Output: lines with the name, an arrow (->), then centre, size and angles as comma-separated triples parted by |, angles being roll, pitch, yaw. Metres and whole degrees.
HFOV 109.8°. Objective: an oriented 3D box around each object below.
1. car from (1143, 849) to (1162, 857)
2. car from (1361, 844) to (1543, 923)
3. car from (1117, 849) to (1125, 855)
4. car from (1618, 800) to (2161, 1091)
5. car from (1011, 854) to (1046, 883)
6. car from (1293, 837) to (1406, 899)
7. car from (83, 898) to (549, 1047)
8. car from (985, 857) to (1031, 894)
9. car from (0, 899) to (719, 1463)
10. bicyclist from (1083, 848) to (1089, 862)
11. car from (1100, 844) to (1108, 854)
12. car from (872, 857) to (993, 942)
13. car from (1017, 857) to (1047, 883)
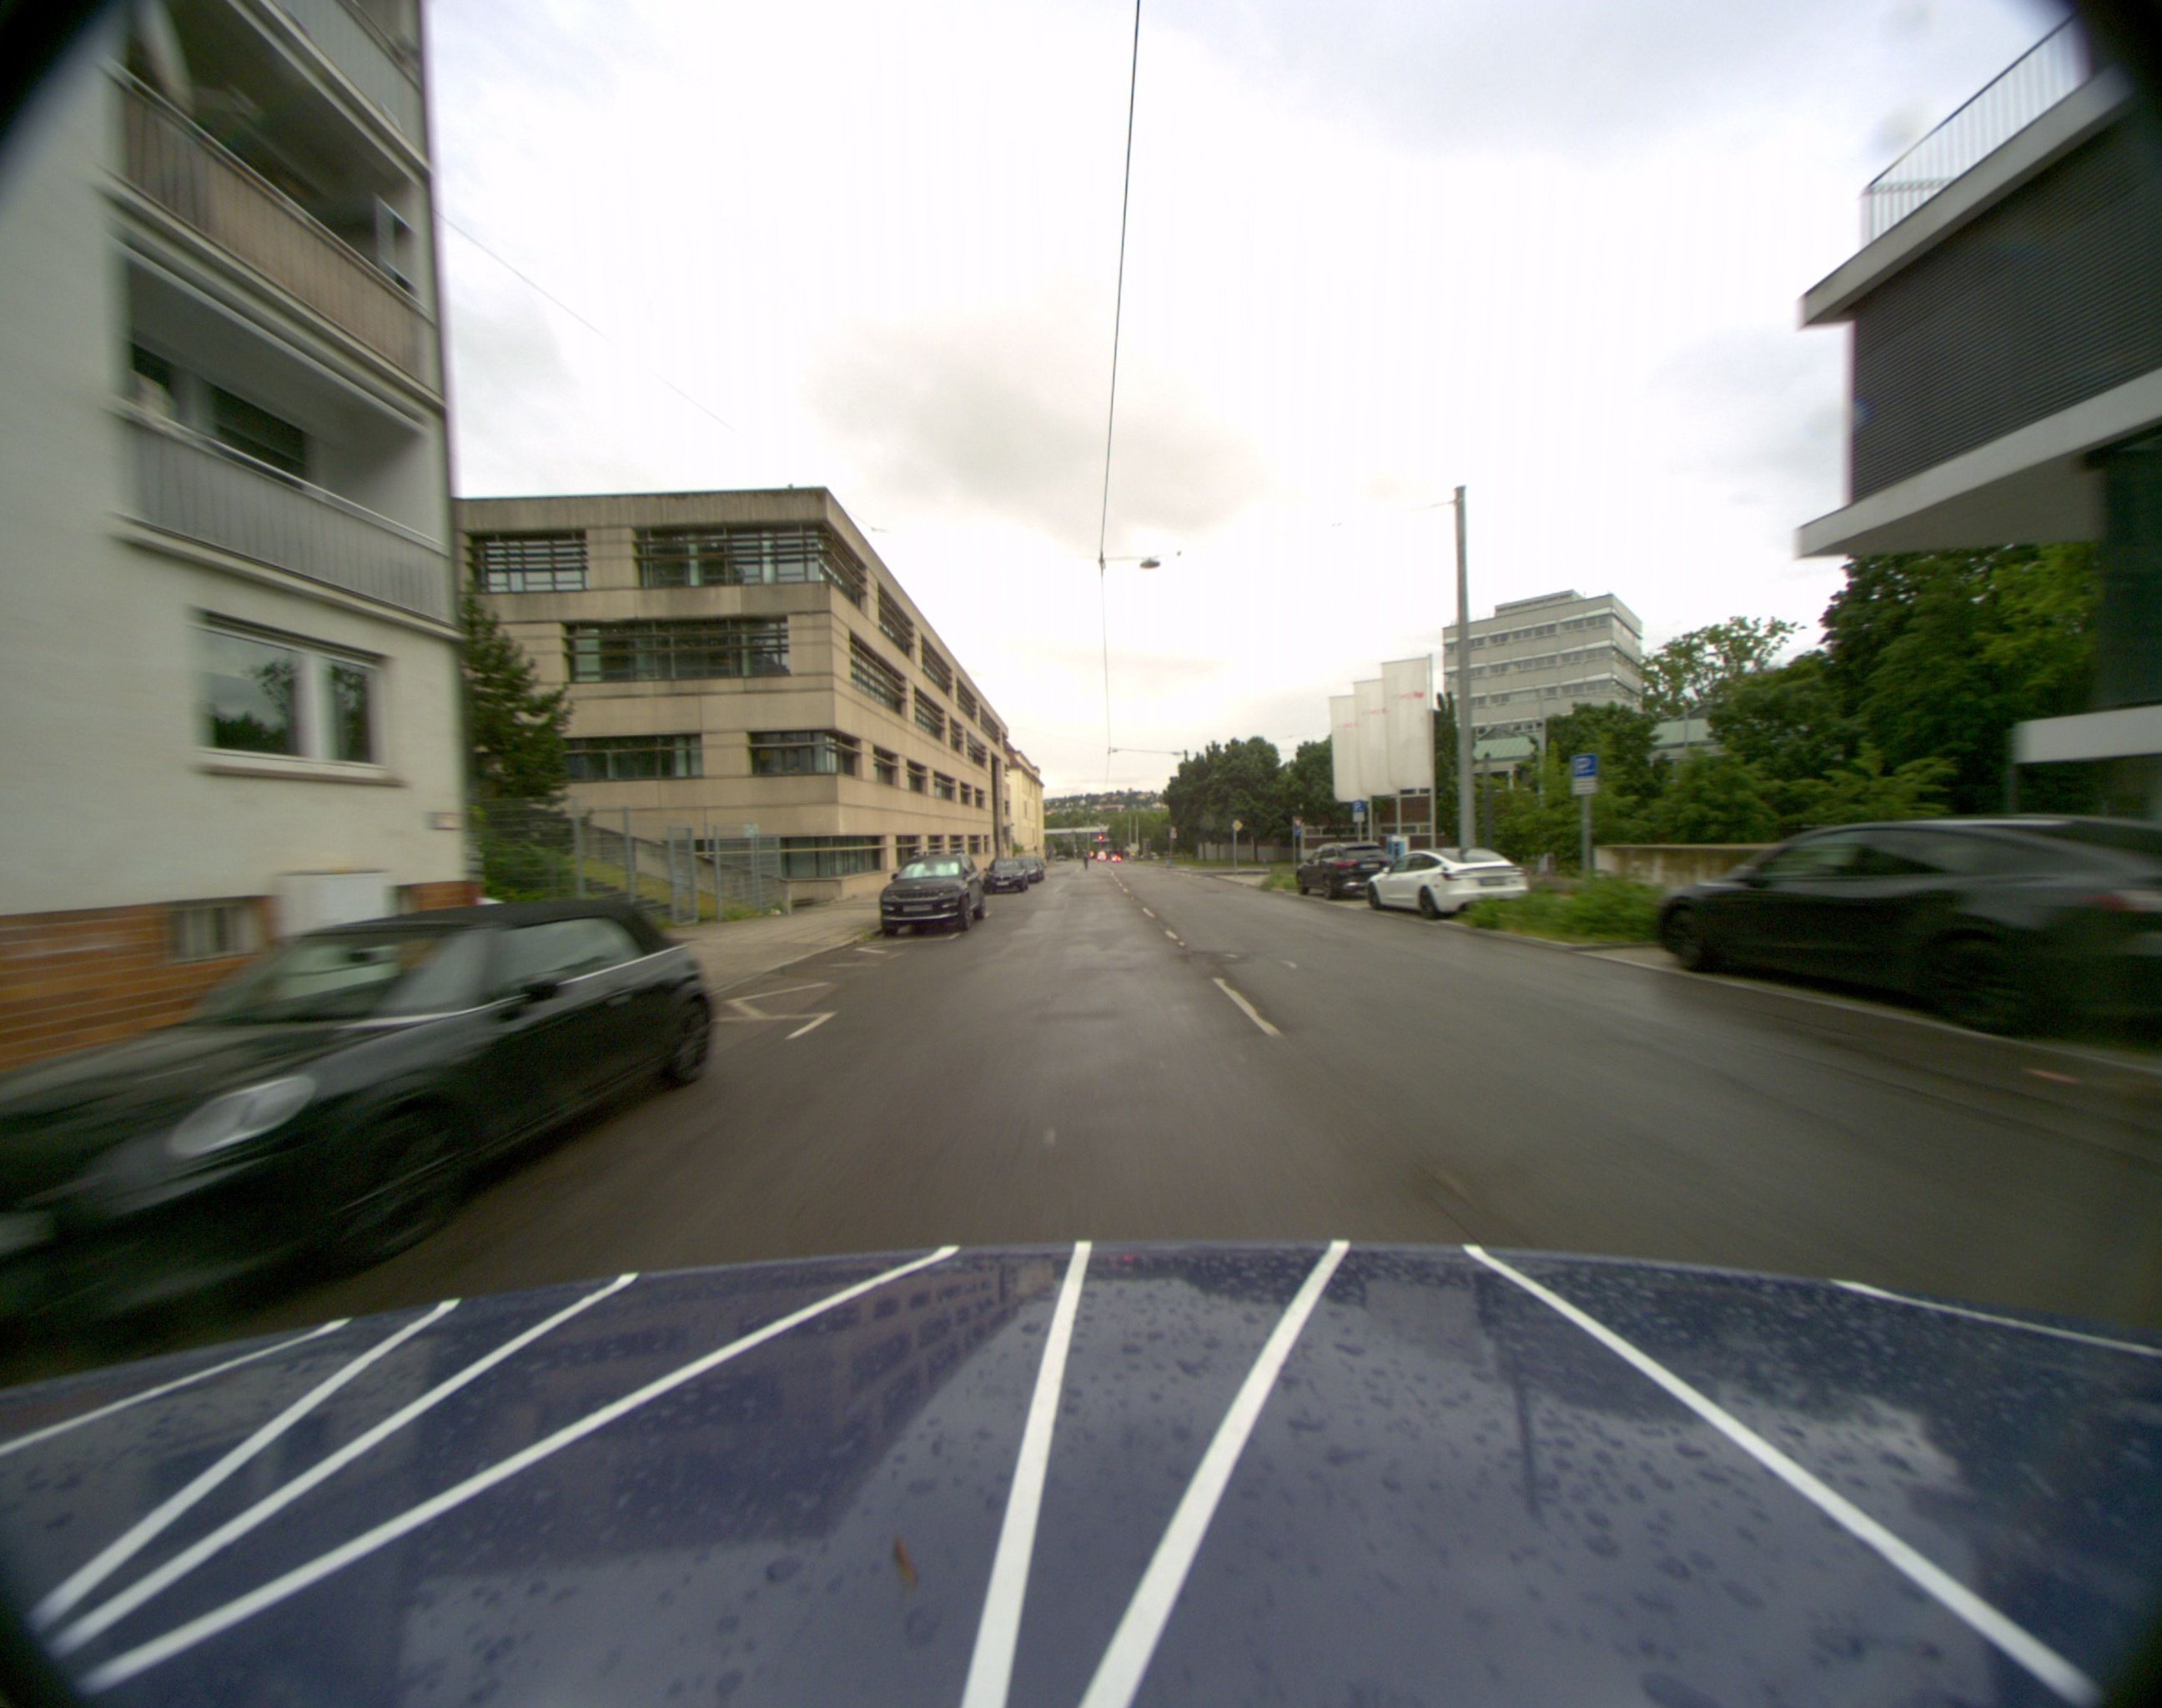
car -> 16.561, -0.217, 175.953 | 1.871, 1.600, 4.516 | -3, 0, -33
car -> 7.845, 0.564, 16.599 | 1.825, 1.410, 4.402 | -3, 0, 1
car -> 9.667, -0.410, 185.387 | 1.886, 1.482, 5.221 | 0, 0, 3
car -> 7.544, 0.495, 6.907 | 1.967, 1.740, 4.942 | -3, 0, 3
car -> -3.195, 0.853, 46.629 | 1.730, 1.503, 4.057 | -4, 1, 0
car -> 8.059, 0.387, 23.288 | 1.854, 1.608, 4.491 | -3, 0, 1
car -> -10.193, 1.529, 10.416 | 4.449, 1.703, 1.905 | 1, 0, 0
car -> -3.366, 0.971, 35.924 | 1.747, 1.524, 4.319 | -3, 0, -1
car -> -3.783, 1.147, 4.206 | 1.677, 1.451, 3.763 | -3, 1, 0
bicyclist -> 0.508, 0.133, 78.856 | 0.485, 1.425, 0.930 | -3, 1, 3
car -> 6.266, -1.357, 206.229 | 1.988, 2.514, 5.631 | -1, -1, -1
car -> -3.509, 1.001, 18.954 | 1.940, 1.740, 4.796 | -3, 0, 0
car -> -3.319, 1.080, 51.989 | 1.775, 1.594, 4.394 | -3, 0, -1
